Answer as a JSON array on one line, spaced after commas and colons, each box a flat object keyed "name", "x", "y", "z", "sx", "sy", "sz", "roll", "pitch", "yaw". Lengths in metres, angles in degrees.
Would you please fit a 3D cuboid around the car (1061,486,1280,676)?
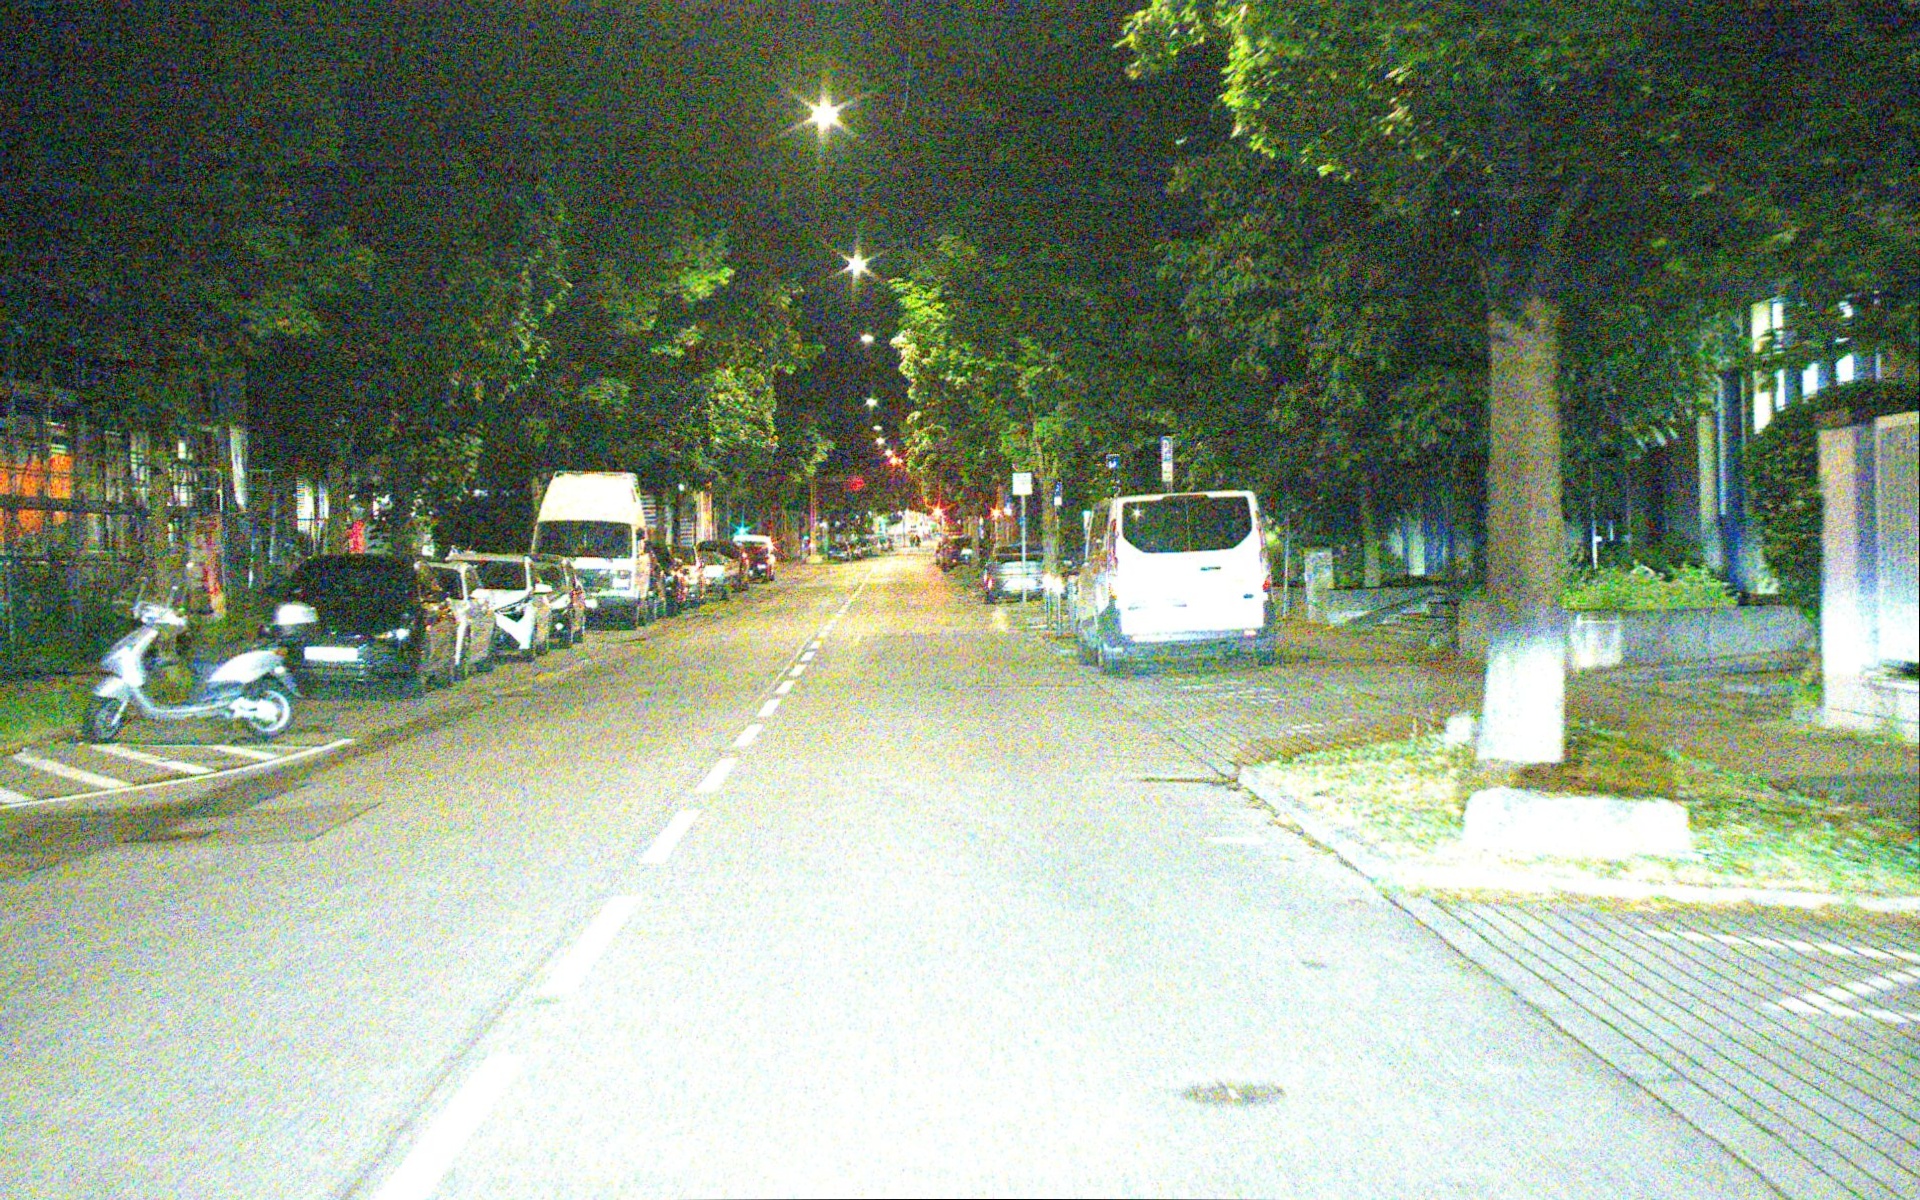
[{"name": "car", "x": 2.340, "y": -0.258, "z": 39.355, "sx": 1.950, "sy": 1.957, "sz": 4.604, "roll": -3, "pitch": 1, "yaw": -2}]

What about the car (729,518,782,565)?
[{"name": "car", "x": -8.247, "y": -2.388, "z": 138.990, "sx": 1.822, "sy": 1.805, "sz": 4.210, "roll": 3, "pitch": 1, "yaw": 0}]

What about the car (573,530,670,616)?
[{"name": "car", "x": -6.929, "y": -0.589, "z": 70.663, "sx": 1.742, "sy": 1.601, "sz": 4.117, "roll": -2, "pitch": 2, "yaw": -3}]

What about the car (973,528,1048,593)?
[{"name": "car", "x": 1.218, "y": -0.955, "z": 81.545, "sx": 1.668, "sy": 1.424, "sz": 4.148, "roll": -3, "pitch": 1, "yaw": 1}]

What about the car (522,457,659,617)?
[{"name": "car", "x": -6.963, "y": -1.196, "z": 65.245, "sx": 2.179, "sy": 2.899, "sz": 4.910, "roll": 1, "pitch": 1, "yaw": -2}]

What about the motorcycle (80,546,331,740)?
[{"name": "motorcycle", "x": -6.150, "y": 0.350, "z": 28.028, "sx": 1.901, "sy": 1.544, "sz": 0.639, "roll": 1, "pitch": 1, "yaw": -20}]

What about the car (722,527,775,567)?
[{"name": "car", "x": -8.058, "y": -2.025, "z": 131.066, "sx": 1.700, "sy": 1.428, "sz": 3.828, "roll": 3, "pitch": 1, "yaw": 0}]

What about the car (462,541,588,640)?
[{"name": "car", "x": -6.832, "y": -0.177, "z": 54.251, "sx": 1.645, "sy": 1.499, "sz": 3.861, "roll": 0, "pitch": 1, "yaw": -2}]

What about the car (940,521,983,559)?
[{"name": "car", "x": 0.036, "y": -2.679, "z": 152.135, "sx": 1.853, "sy": 1.648, "sz": 4.209, "roll": -1, "pitch": 1, "yaw": 0}]

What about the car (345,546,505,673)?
[{"name": "car", "x": -6.565, "y": 0.080, "z": 42.502, "sx": 1.444, "sy": 1.424, "sz": 3.904, "roll": 2, "pitch": 1, "yaw": -2}]

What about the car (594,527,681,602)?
[{"name": "car", "x": -7.141, "y": -0.814, "z": 76.511, "sx": 1.742, "sy": 1.601, "sz": 4.299, "roll": 0, "pitch": 1, "yaw": -3}]

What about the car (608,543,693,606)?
[{"name": "car", "x": -7.352, "y": -0.625, "z": 81.953, "sx": 1.704, "sy": 1.407, "sz": 4.634, "roll": 0, "pitch": 1, "yaw": -1}]

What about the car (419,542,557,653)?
[{"name": "car", "x": -6.593, "y": -0.062, "z": 48.296, "sx": 1.547, "sy": 1.450, "sz": 3.369, "roll": 1, "pitch": 1, "yaw": -2}]

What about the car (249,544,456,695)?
[{"name": "car", "x": -6.532, "y": 0.168, "z": 37.278, "sx": 1.642, "sy": 1.499, "sz": 3.904, "roll": 1, "pitch": 1, "yaw": -2}]

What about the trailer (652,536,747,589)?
[{"name": "trailer", "x": -7.104, "y": -1.041, "z": 94.274, "sx": 2.110, "sy": 1.330, "sz": 5.435, "roll": 2, "pitch": 1, "yaw": 0}]

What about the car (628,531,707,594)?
[{"name": "car", "x": -7.386, "y": -0.974, "z": 87.008, "sx": 1.716, "sy": 1.496, "sz": 4.206, "roll": 2, "pitch": 1, "yaw": -2}]
